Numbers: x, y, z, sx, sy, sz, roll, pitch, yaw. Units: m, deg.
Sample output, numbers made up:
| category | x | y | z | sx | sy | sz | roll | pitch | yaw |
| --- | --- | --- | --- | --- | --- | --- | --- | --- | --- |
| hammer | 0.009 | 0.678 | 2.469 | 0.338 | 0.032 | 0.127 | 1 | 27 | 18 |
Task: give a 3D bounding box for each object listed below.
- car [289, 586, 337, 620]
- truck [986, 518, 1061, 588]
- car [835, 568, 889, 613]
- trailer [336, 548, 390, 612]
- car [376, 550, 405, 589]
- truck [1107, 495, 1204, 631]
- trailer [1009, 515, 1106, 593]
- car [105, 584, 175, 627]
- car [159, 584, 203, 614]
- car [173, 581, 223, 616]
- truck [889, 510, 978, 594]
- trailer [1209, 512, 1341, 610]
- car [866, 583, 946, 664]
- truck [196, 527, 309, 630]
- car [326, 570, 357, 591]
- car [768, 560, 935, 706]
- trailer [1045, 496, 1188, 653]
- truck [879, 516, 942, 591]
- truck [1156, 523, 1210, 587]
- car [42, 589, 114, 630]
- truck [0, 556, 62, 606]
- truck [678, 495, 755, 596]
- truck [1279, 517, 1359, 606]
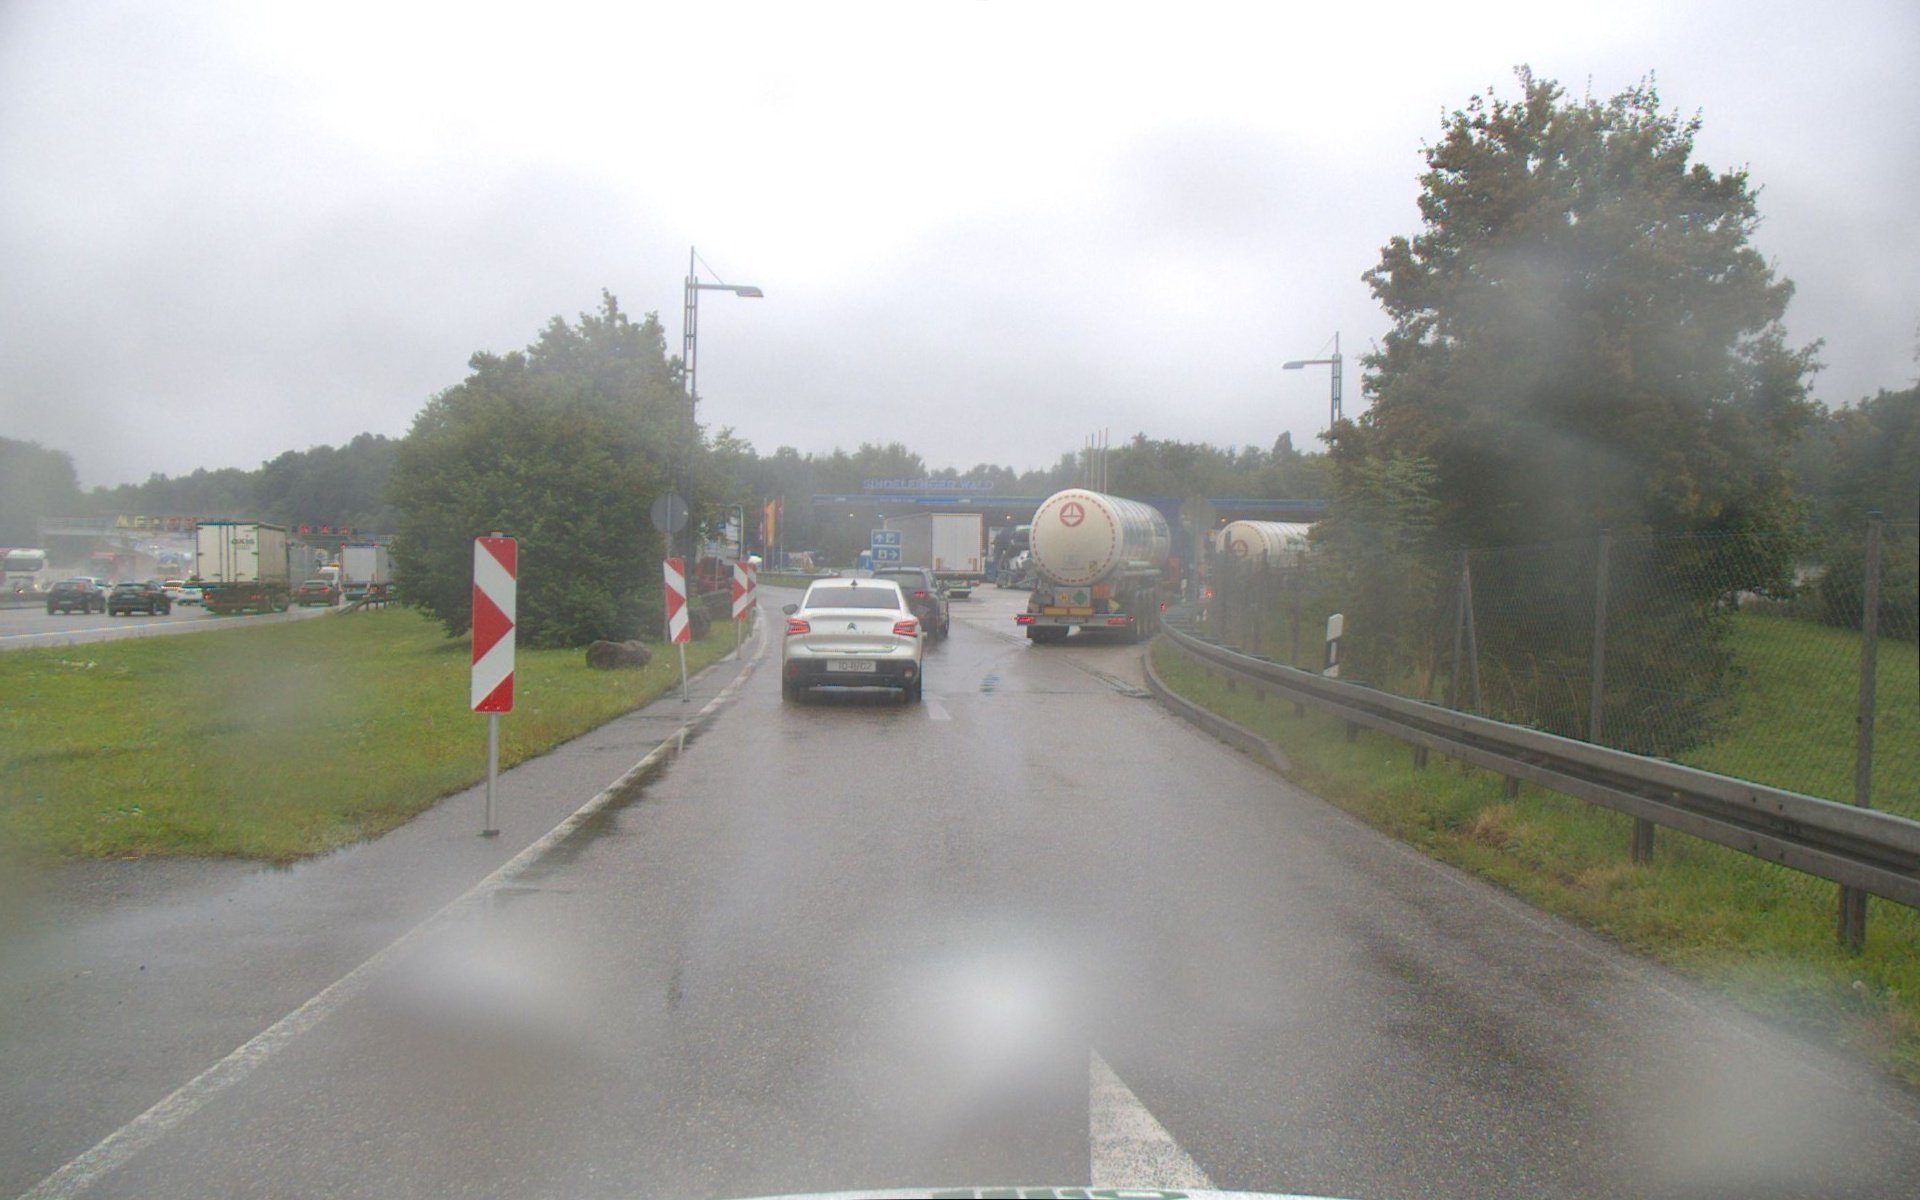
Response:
| category | x | y | z | sx | sy | sz | roll | pitch | yaw |
| --- | --- | --- | --- | --- | --- | --- | --- | --- | --- |
| car | -37.955 | 0.163 | 97.108 | 1.959 | 1.847 | 3.986 | 2 | 0 | -13 |
| truck | 4.015 | -3.045 | 107.117 | 3.174 | 4.261 | 8.427 | 1 | 2 | -9 |
| car | -3.528 | -0.357 | 58.990 | 1.842 | 1.487 | 3.997 | 2 | 1 | -5 |
| trailer | -46.011 | -1.472 | 127.824 | 3.493 | 4.693 | 12.058 | 0 | 0 | -18 |
| car | -54.318 | -2.887 | 157.827 | 2.336 | 3.546 | 4.791 | 4 | -1 | -18 |
| truck | 5.537 | -1.025 | 46.380 | 2.009 | 3.592 | 4.750 | 1 | 1 | 14 |
| trailer | 5.579 | -2.719 | 97.262 | 3.156 | 4.261 | 11.506 | 1 | 2 | -9 |
| car | -34.657 | 0.221 | 69.973 | 1.745 | 1.766 | 3.835 | 0 | 0 | -12 |
| car | -54.573 | -0.088 | 115.896 | 1.959 | 2.049 | 3.986 | 0 | 0 | -13 |
| car | -47.141 | -0.098 | 102.405 | 1.959 | 2.049 | 3.986 | 3 | -1 | -13 |
| truck | -1.494 | -2.416 | 83.993 | 2.328 | 3.941 | 12.421 | 0 | 2 | -11 |
| trailer | 12.407 | -1.494 | 64.313 | 2.090 | 3.500 | 10.239 | 1 | 1 | 28 |
| car | -1.216 | 0.545 | 38.692 | 1.707 | 1.696 | 3.999 | 3 | -1 | -1 |
| truck | -32.595 | -0.896 | 76.693 | 2.800 | 4.368 | 11.802 | 0 | 0 | -13 |
| car | -57.125 | -1.817 | 152.700 | 1.958 | 1.847 | 3.989 | 2 | 0 | -11 |
| car | -1.346 | 0.394 | 21.448 | 1.953 | 1.708 | 3.998 | 0 | 0 | -2 |
| trailer | 3.982 | -0.632 | 39.969 | 1.938 | 3.280 | 10.330 | 1 | 1 | 14 |
| truck | -2.773 | -2.547 | 90.335 | 2.328 | 3.941 | 6.993 | 0 | 2 | -11 |
| truck | 13.674 | -2.782 | 101.588 | 2.379 | 3.871 | 3.995 | 0 | 2 | -7 |
| car | -39.472 | 0.395 | 74.142 | 1.744 | 1.766 | 4.087 | -1 | 0 | -12 |
| truck | -73.277 | -1.533 | 130.407 | 2.576 | 3.733 | 5.975 | 4 | 1 | -12 |
| truck | -10.183 | -2.232 | 68.824 | 2.863 | 3.972 | 6.300 | 0 | 1 | -11 |
| truck | 15.108 | -1.614 | 69.433 | 2.105 | 3.574 | 4.640 | 1 | 1 | 28 |
